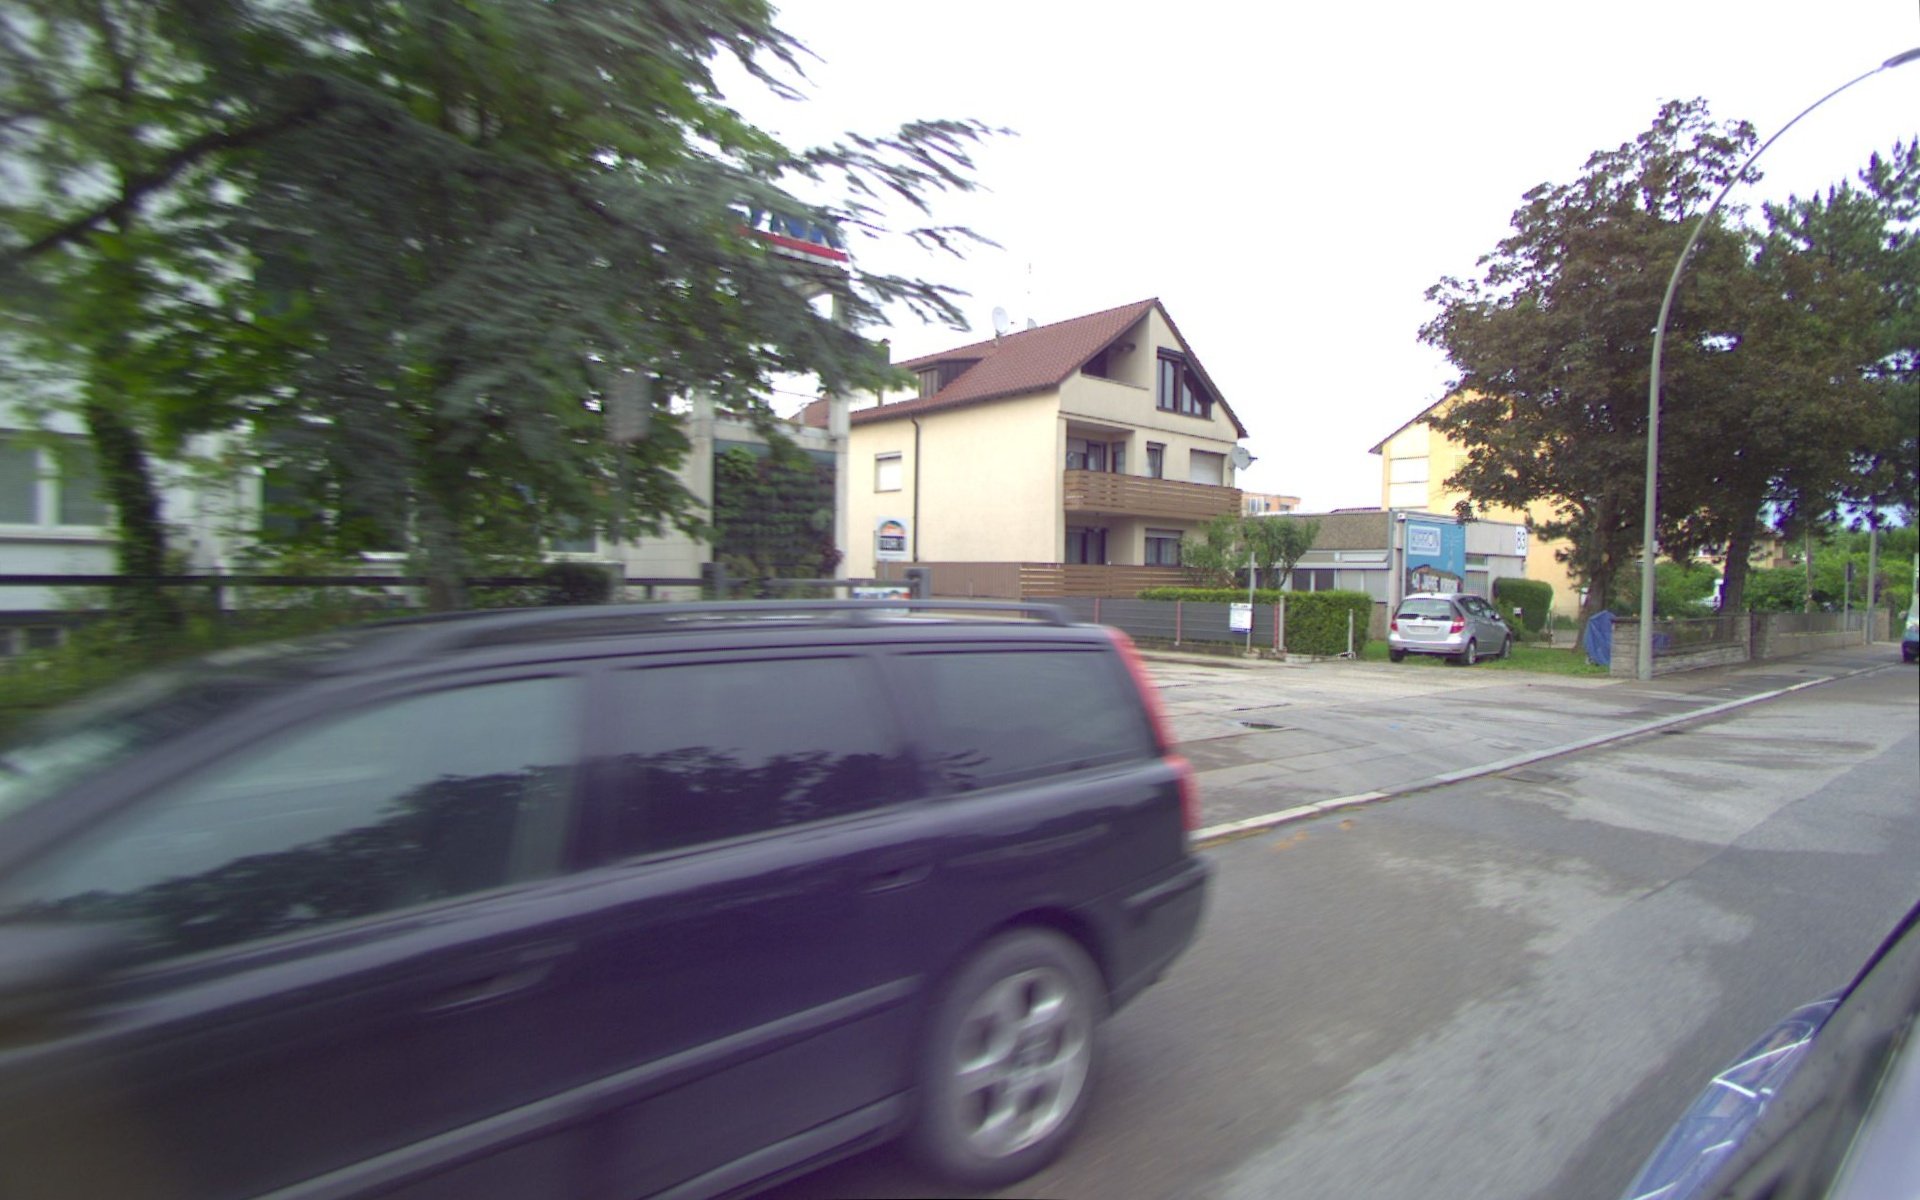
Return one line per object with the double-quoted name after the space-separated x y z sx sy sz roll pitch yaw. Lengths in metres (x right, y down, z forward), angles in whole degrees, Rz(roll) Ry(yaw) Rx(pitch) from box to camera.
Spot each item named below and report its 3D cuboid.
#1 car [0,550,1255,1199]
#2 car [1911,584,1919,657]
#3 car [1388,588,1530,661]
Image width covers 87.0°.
-1.457 0.676 2.273 4.564 1.451 1.743 -1 -1 -39 "car"
26.820 0.497 26.739 5.453 1.851 1.735 0 -1 -39 "car"
11.539 0.489 23.298 1.744 1.507 4.052 1 1 45 "car"
